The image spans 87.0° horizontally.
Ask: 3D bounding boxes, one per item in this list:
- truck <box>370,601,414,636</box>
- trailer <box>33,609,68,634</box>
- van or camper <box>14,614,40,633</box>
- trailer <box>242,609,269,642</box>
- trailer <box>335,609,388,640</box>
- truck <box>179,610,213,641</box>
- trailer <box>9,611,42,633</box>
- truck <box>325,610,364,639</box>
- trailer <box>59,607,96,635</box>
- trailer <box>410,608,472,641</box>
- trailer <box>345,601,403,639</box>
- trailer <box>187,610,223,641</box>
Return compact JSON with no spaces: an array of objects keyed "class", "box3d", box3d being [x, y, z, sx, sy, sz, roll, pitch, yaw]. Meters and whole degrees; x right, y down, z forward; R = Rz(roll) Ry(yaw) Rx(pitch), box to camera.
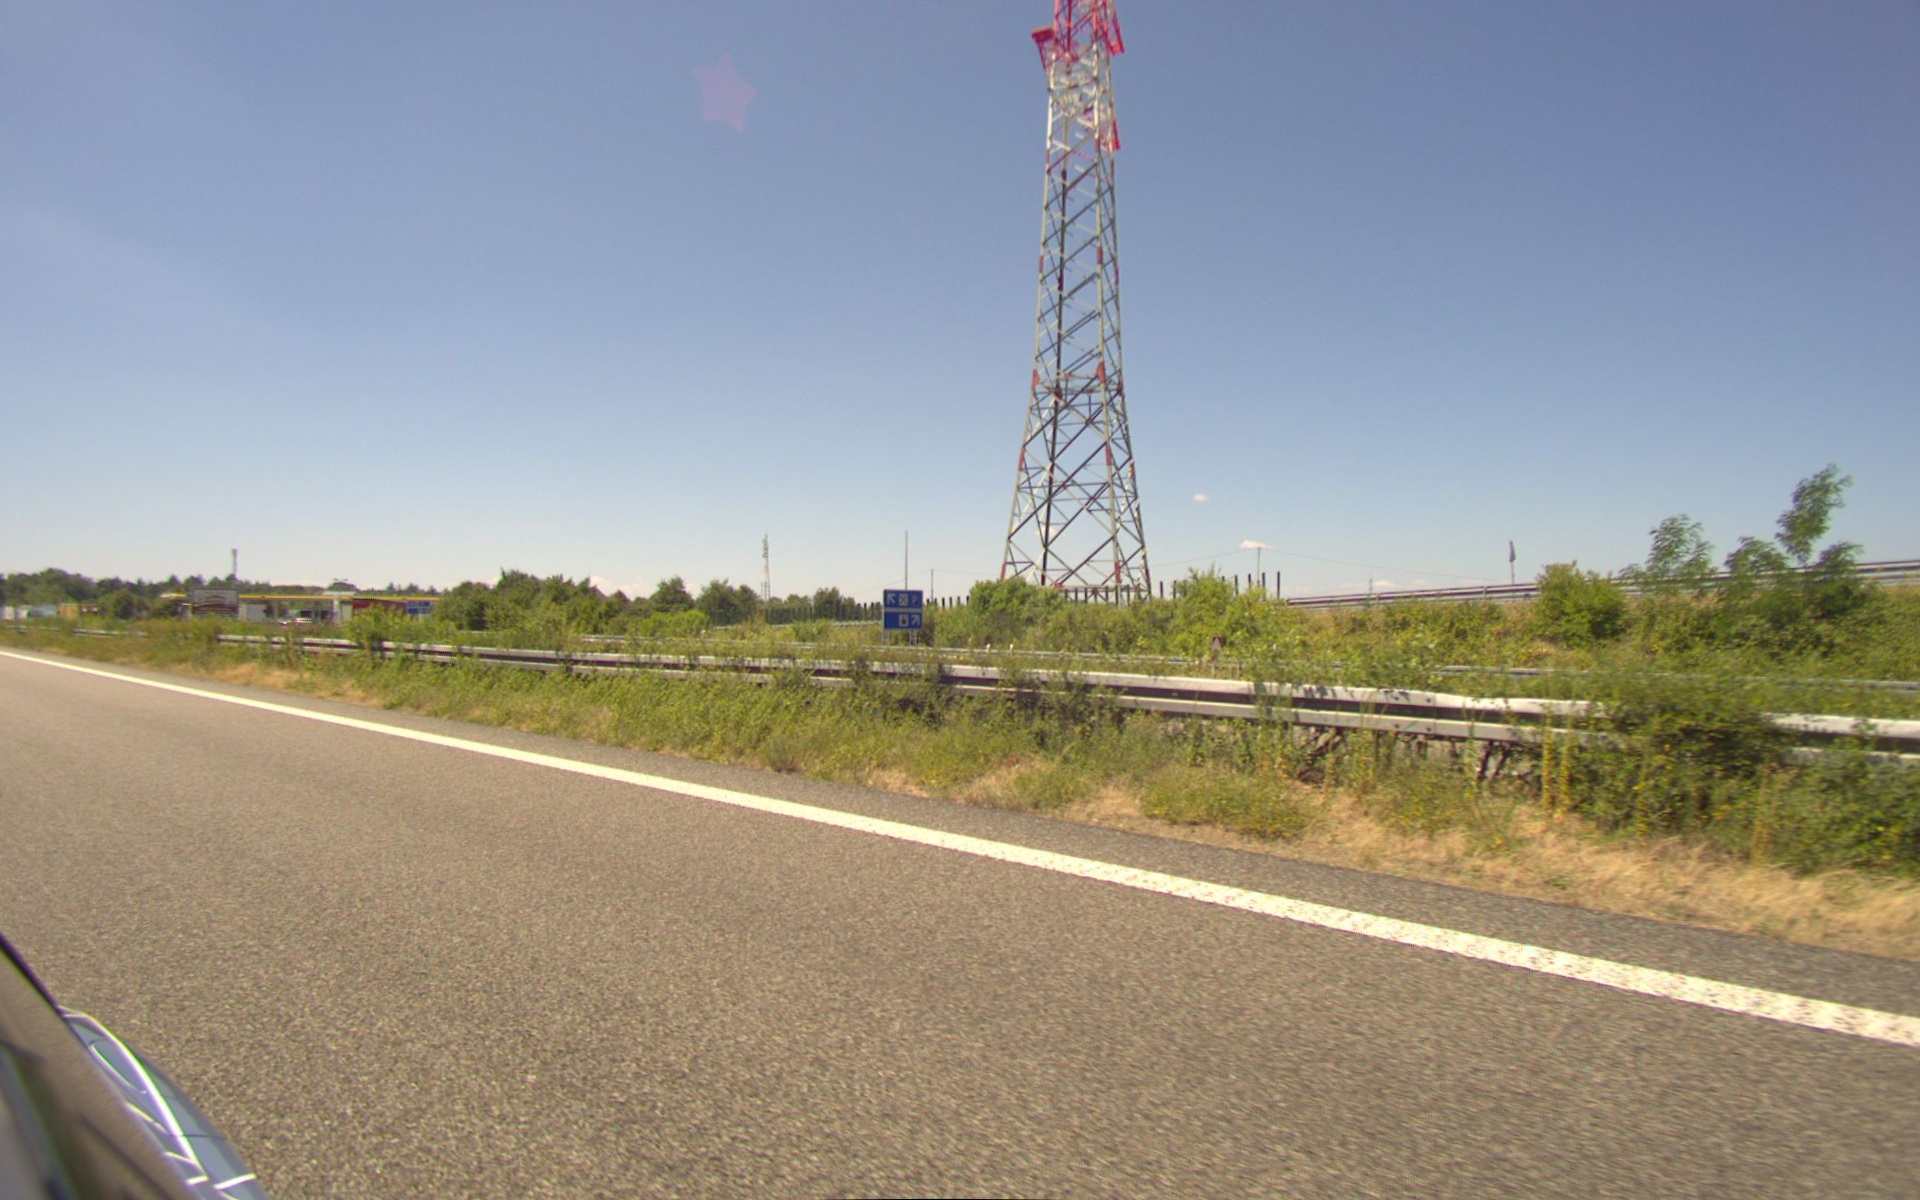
[{"class":"truck","box3d":[-69.894,2.180,124.599,3.075,4.080,6.664,-1,0,-15]},{"class":"trailer","box3d":[-160.275,3.800,178.339,12.073,4.180,2.805,-1,0,40]},{"class":"van or camper","box3d":[-131.159,3.273,142.266,6.386,2.543,2.038,-1,0,41]},{"class":"trailer","box3d":[-110.200,3.865,158.375,3.257,4.911,9.708,-1,0,-34]},{"class":"trailer","box3d":[-91.289,3.705,154.225,12.919,4.390,3.266,-1,0,43]},{"class":"truck","box3d":[-126.846,4.228,167.972,7.877,4.886,2.993,-1,0,43]},{"class":"trailer","box3d":[-179.016,4.220,193.795,11.004,4.189,3.082,-1,0,39]},{"class":"truck","box3d":[-97.063,3.819,159.521,7.624,4.390,3.266,-1,0,43]},{"class":"trailer","box3d":[-143.755,3.413,164.792,11.073,4.251,2.805,-1,0,40]},{"class":"trailer","box3d":[-72.882,3.395,142.441,3.122,4.298,11.064,-1,0,0]},{"class":"trailer","box3d":[-68.011,2.237,117.734,3.078,4.086,11.346,-1,0,-15]},{"class":"trailer","box3d":[-122.245,4.137,163.739,9.132,4.886,3.000,-1,0,43]}]
